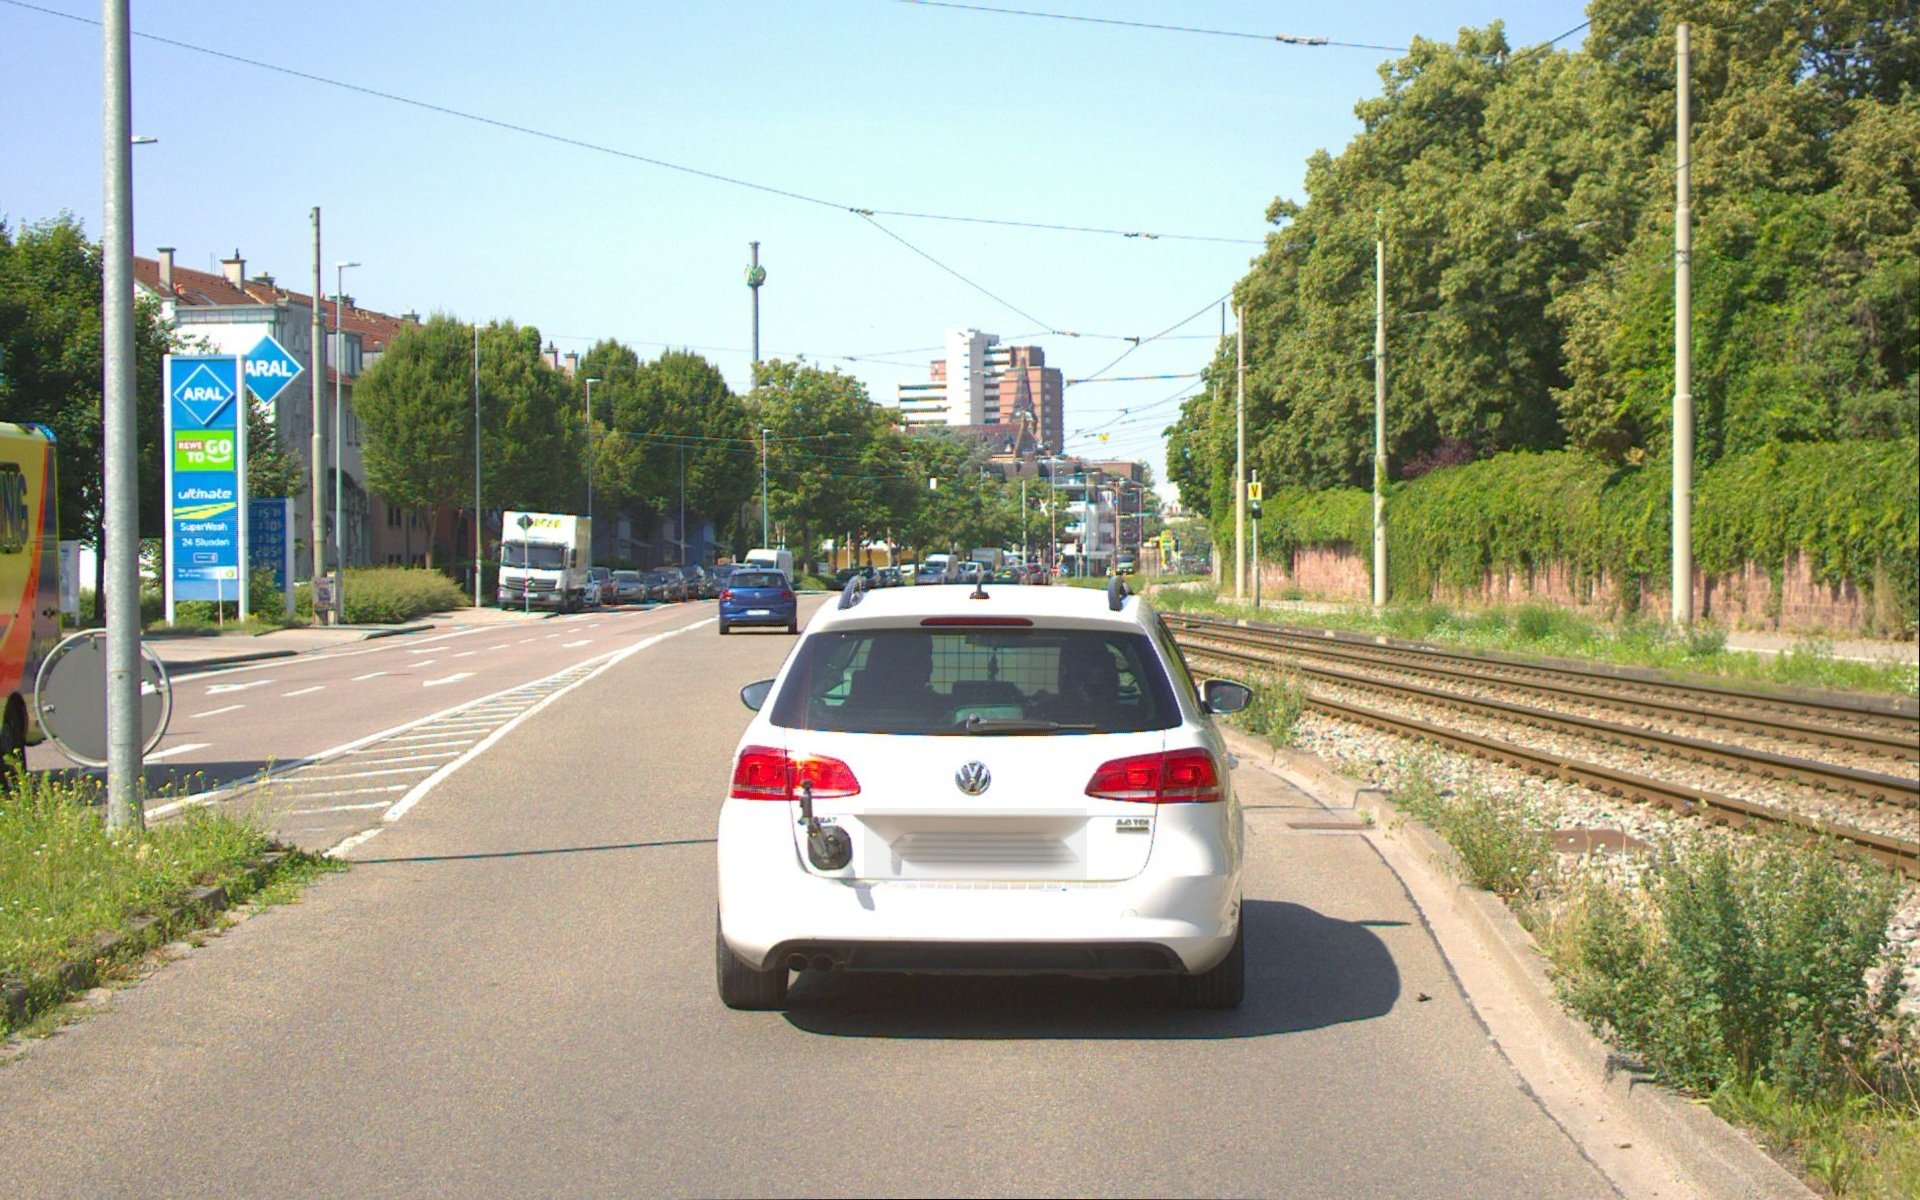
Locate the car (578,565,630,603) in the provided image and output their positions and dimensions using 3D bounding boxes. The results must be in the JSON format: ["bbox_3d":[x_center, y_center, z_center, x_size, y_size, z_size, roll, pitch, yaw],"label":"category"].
[{"bbox_3d":[-14.842,-0.662,143.438,1.731,1.546,4.318,1,0,-1],"label":"car"}]

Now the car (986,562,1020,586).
[{"bbox_3d":[2.793,-1.717,224.007,1.801,1.502,3.999,1,1,6],"label":"car"}]

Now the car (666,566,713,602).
[{"bbox_3d":[-13.519,-0.804,172.249,1.769,1.717,4.870,1,0,2],"label":"car"}]

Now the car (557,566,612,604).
[{"bbox_3d":[-14.807,-0.606,135.739,1.757,1.424,4.282,1,0,-1],"label":"car"}]

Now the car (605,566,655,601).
[{"bbox_3d":[-14.757,-0.733,154.082,1.780,1.478,4.857,1,0,0],"label":"car"}]

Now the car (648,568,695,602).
[{"bbox_3d":[-13.971,-0.721,166.725,1.717,1.619,4.312,1,0,3],"label":"car"}]

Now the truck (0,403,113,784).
[{"bbox_3d":[-7.859,-0.023,23.626,2.330,2.659,7.360,-1,1,-1],"label":"truck"}]

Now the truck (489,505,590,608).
[{"bbox_3d":[-15.034,-1.548,123.423,2.667,3.518,8.591,1,0,-1],"label":"truck"}]

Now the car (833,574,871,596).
[{"bbox_3d":[-7.121,-0.980,226.875,1.700,1.412,3.998,-1,0,10],"label":"car"}]

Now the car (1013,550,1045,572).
[{"bbox_3d":[4.767,-2.686,237.128,1.801,1.455,3.999,-1,0,6],"label":"car"}]

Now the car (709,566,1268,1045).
[{"bbox_3d":[0.051,0.609,12.719,1.691,1.446,4.459,1,1,-1],"label":"car"}]

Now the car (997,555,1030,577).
[{"bbox_3d":[3.566,-2.280,229.530,1.801,1.455,3.999,1,1,6],"label":"car"}]

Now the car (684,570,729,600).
[{"bbox_3d":[-13.104,-0.756,177.716,1.690,1.469,4.048,2,0,4],"label":"car"}]

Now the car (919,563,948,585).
[{"bbox_3d":[-1.767,-1.734,230.658,1.659,1.415,4.309,-2,0,3],"label":"car"}]

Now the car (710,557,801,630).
[{"bbox_3d":[-4.475,-0.158,75.750,1.800,1.502,4.000,0,1,-1],"label":"car"}]
